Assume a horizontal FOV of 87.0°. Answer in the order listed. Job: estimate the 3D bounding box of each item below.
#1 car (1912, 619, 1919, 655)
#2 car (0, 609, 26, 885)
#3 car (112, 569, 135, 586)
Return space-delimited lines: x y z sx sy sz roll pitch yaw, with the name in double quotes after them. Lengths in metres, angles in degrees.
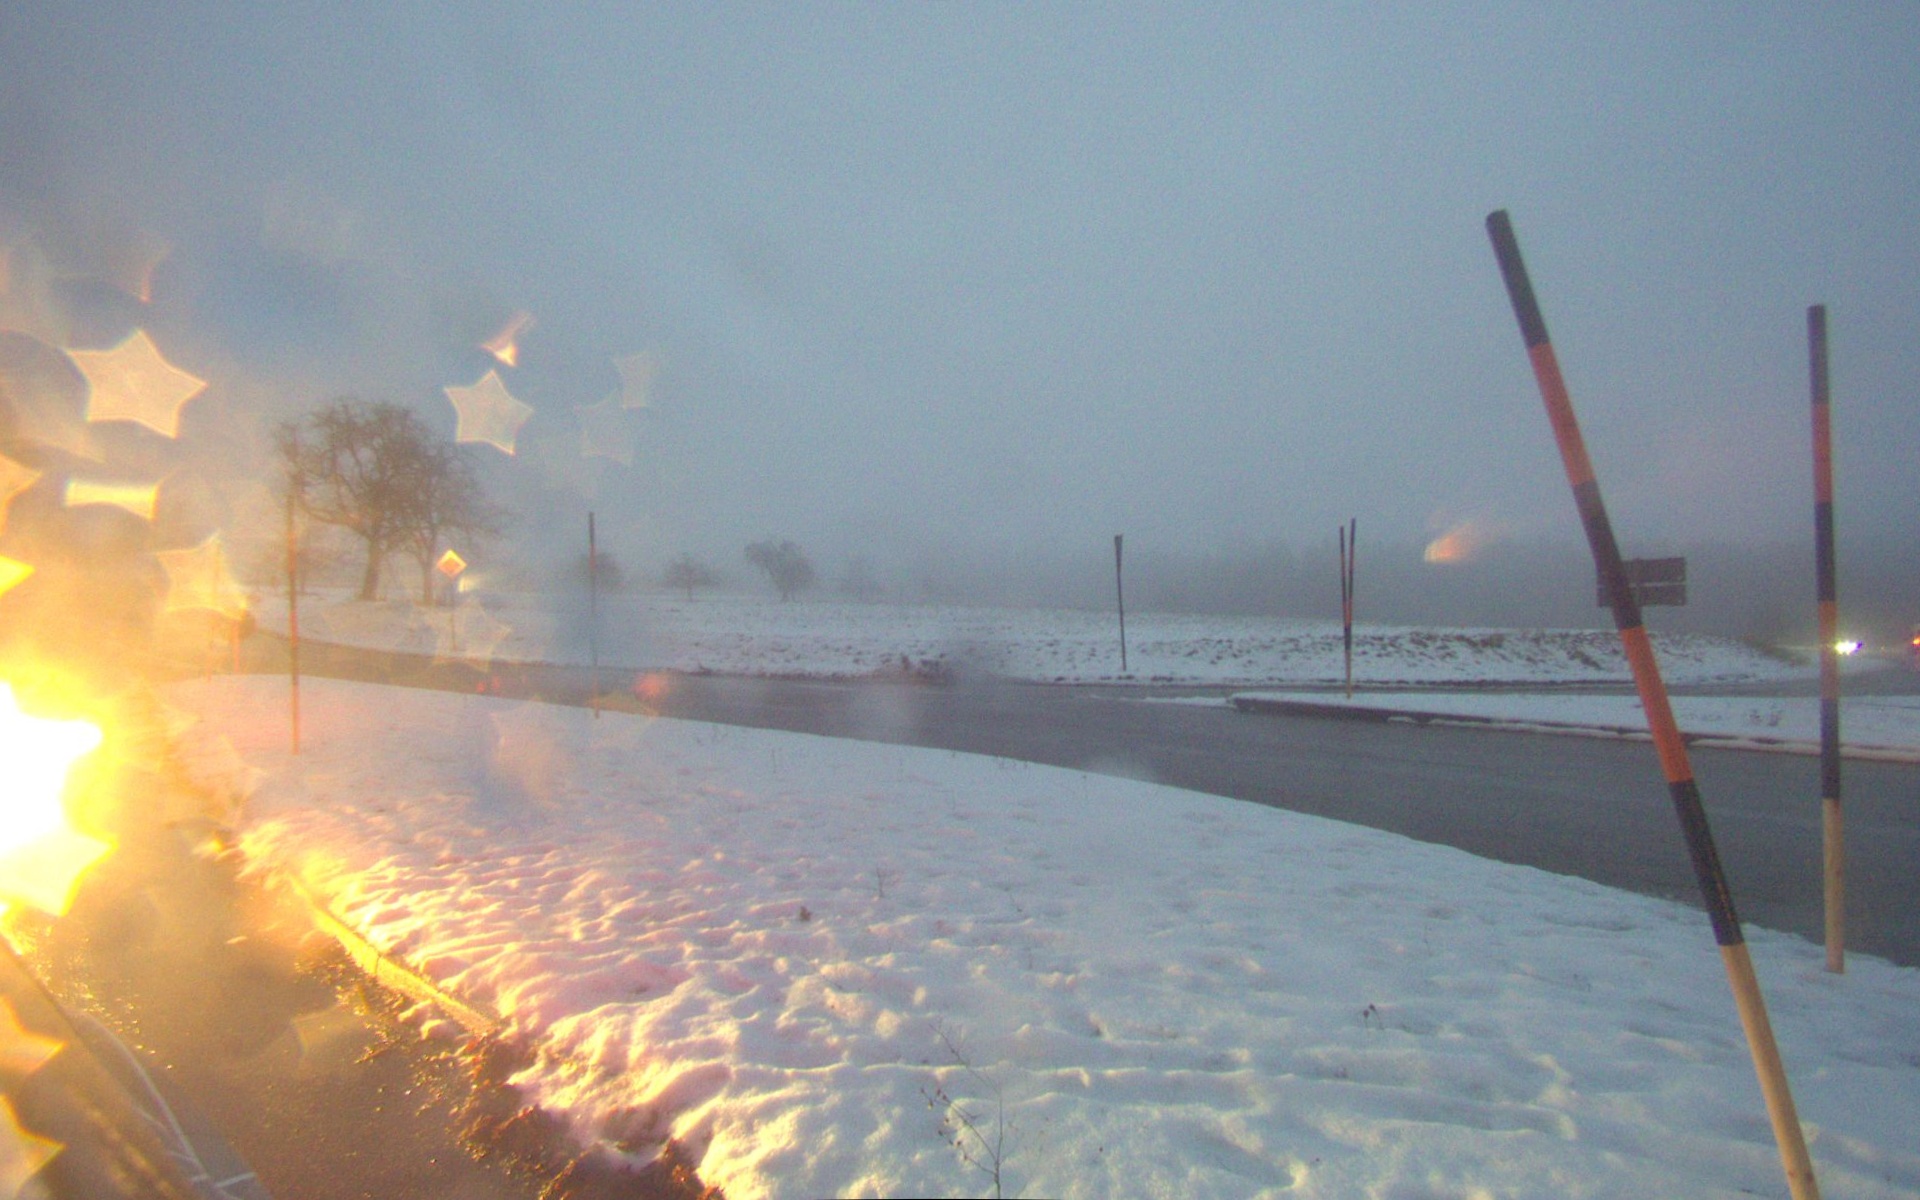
80.577 3.022 83.830 2.151 2.716 5.456 1 2 40 "car"
-6.888 0.799 6.105 1.701 1.445 3.679 -1 0 -45 "car"
-93.664 -2.506 113.330 1.969 1.820 4.006 0 1 -41 "car"
